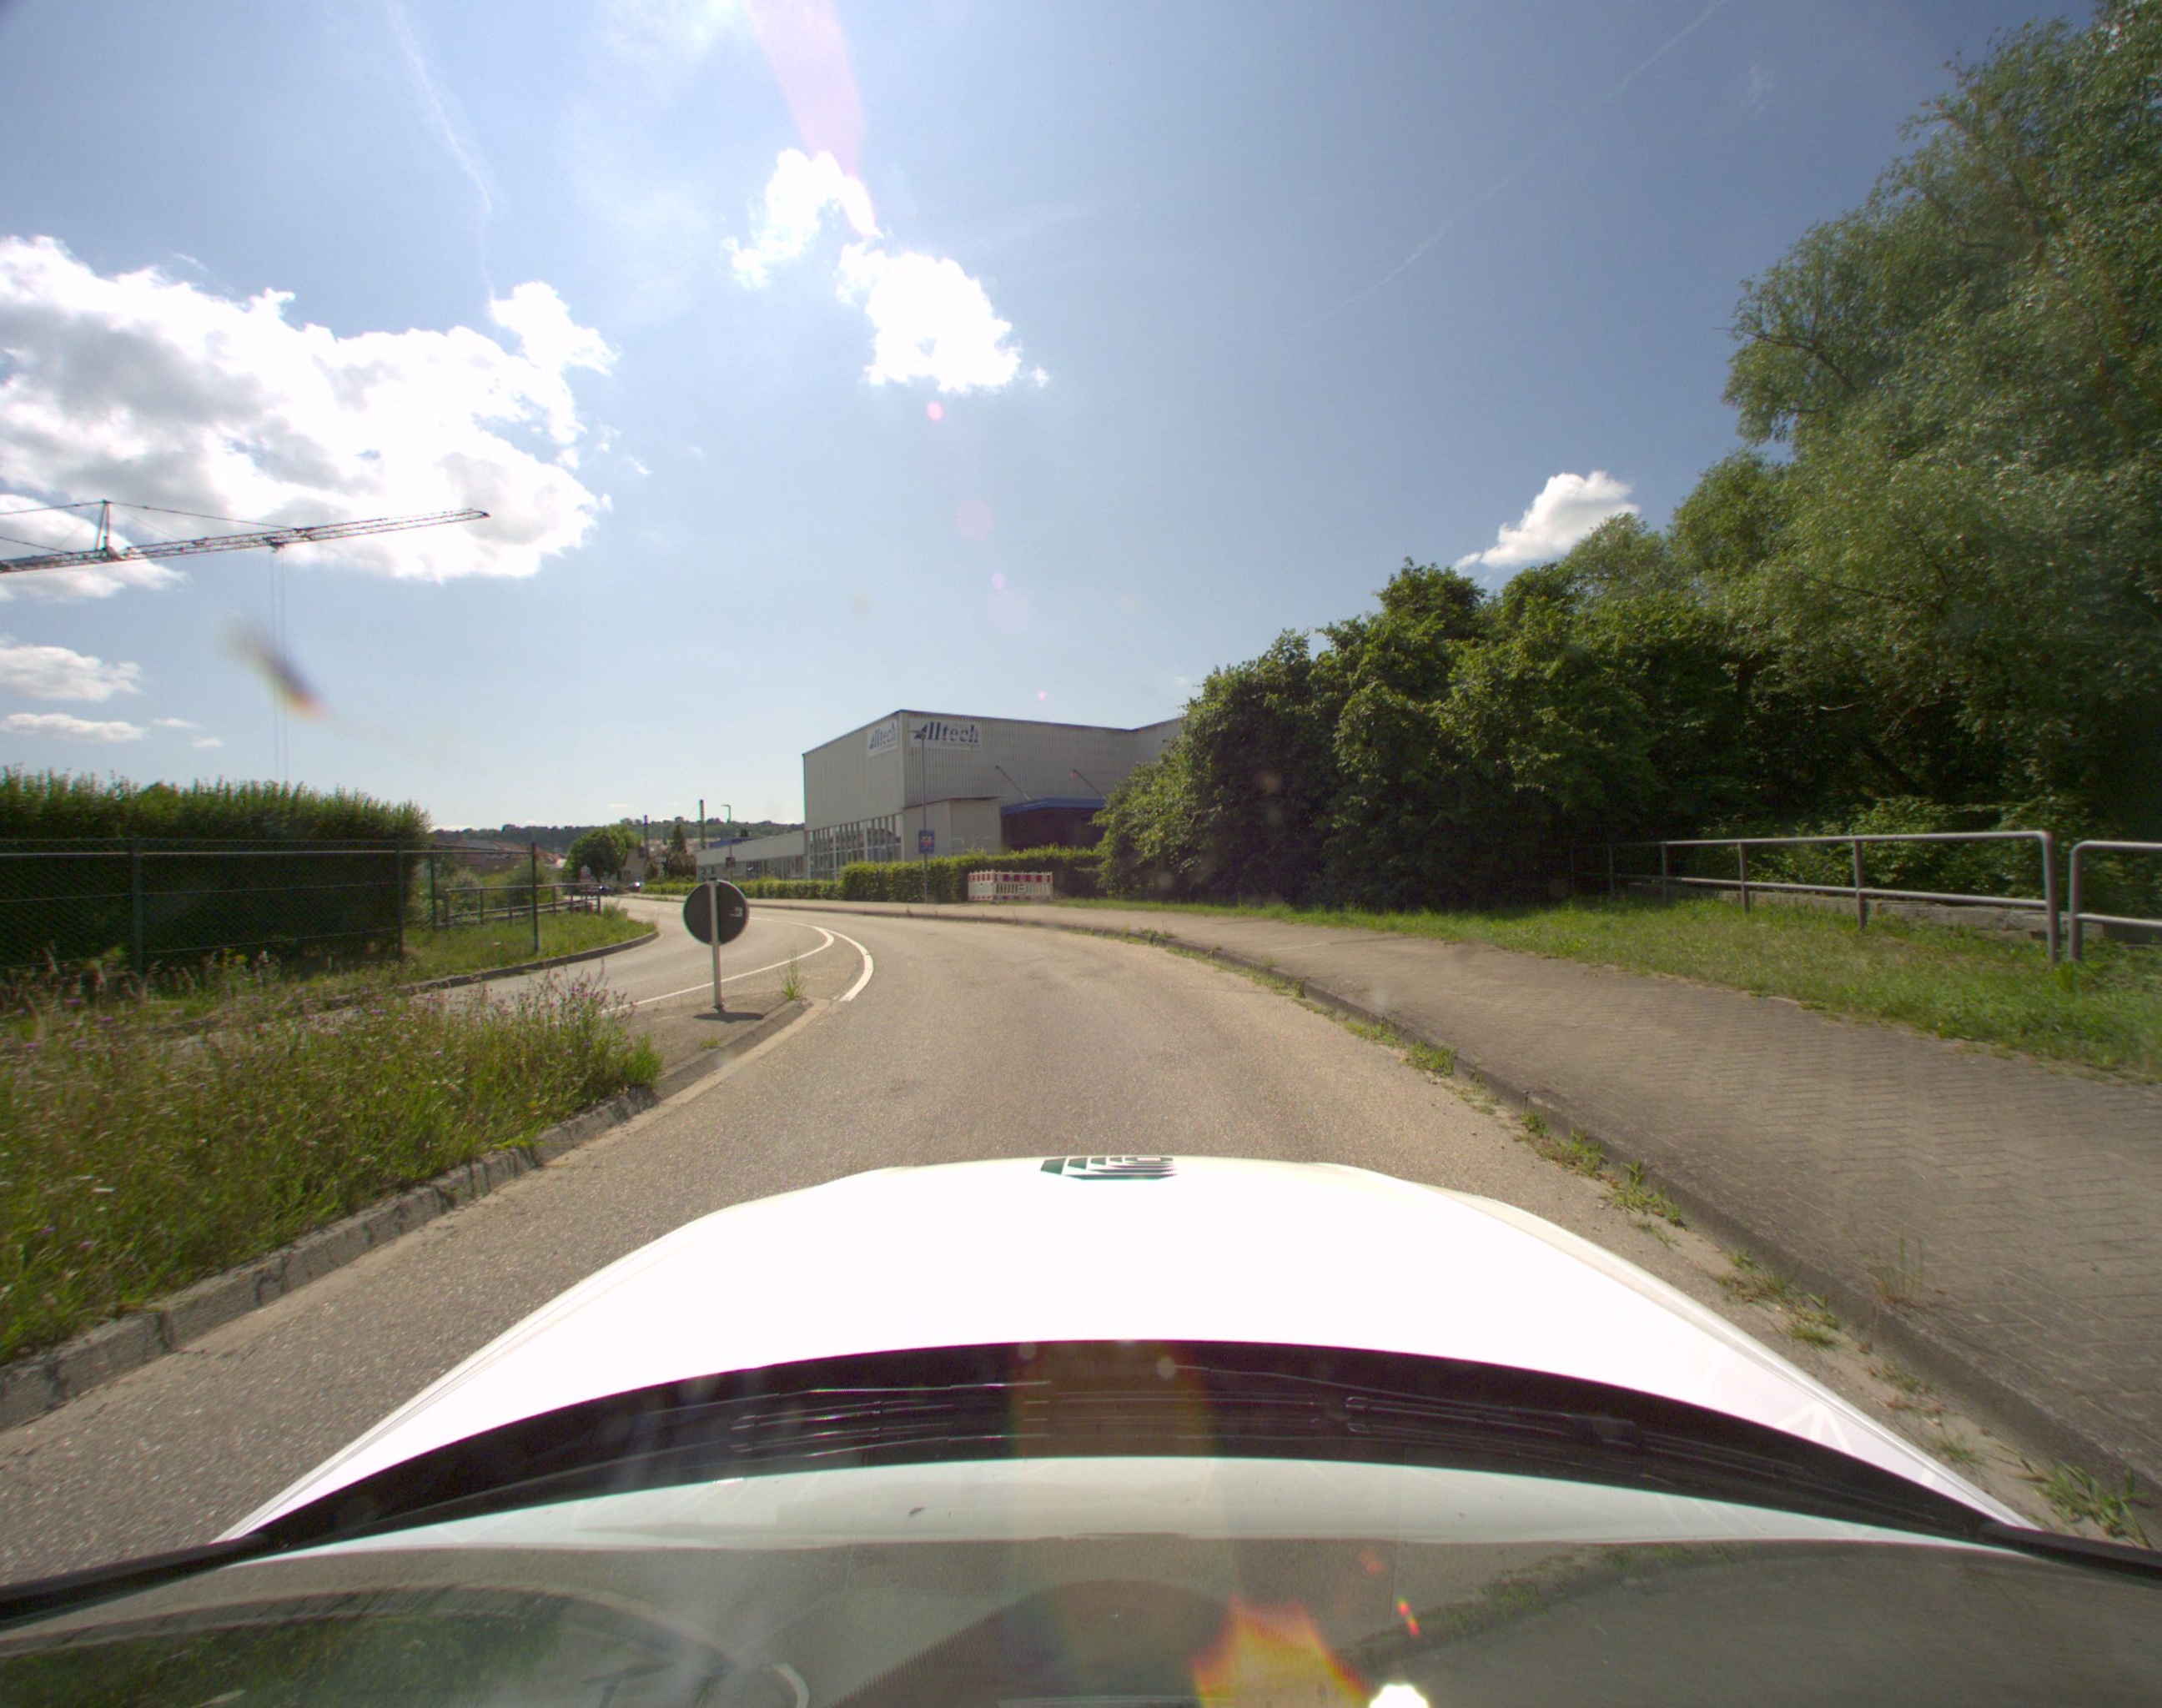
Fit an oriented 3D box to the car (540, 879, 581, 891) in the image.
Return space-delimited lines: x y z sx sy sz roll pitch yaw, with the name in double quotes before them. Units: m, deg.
"car" -67.600 4.025 105.719 4.225 1.463 1.644 0 -3 -45
